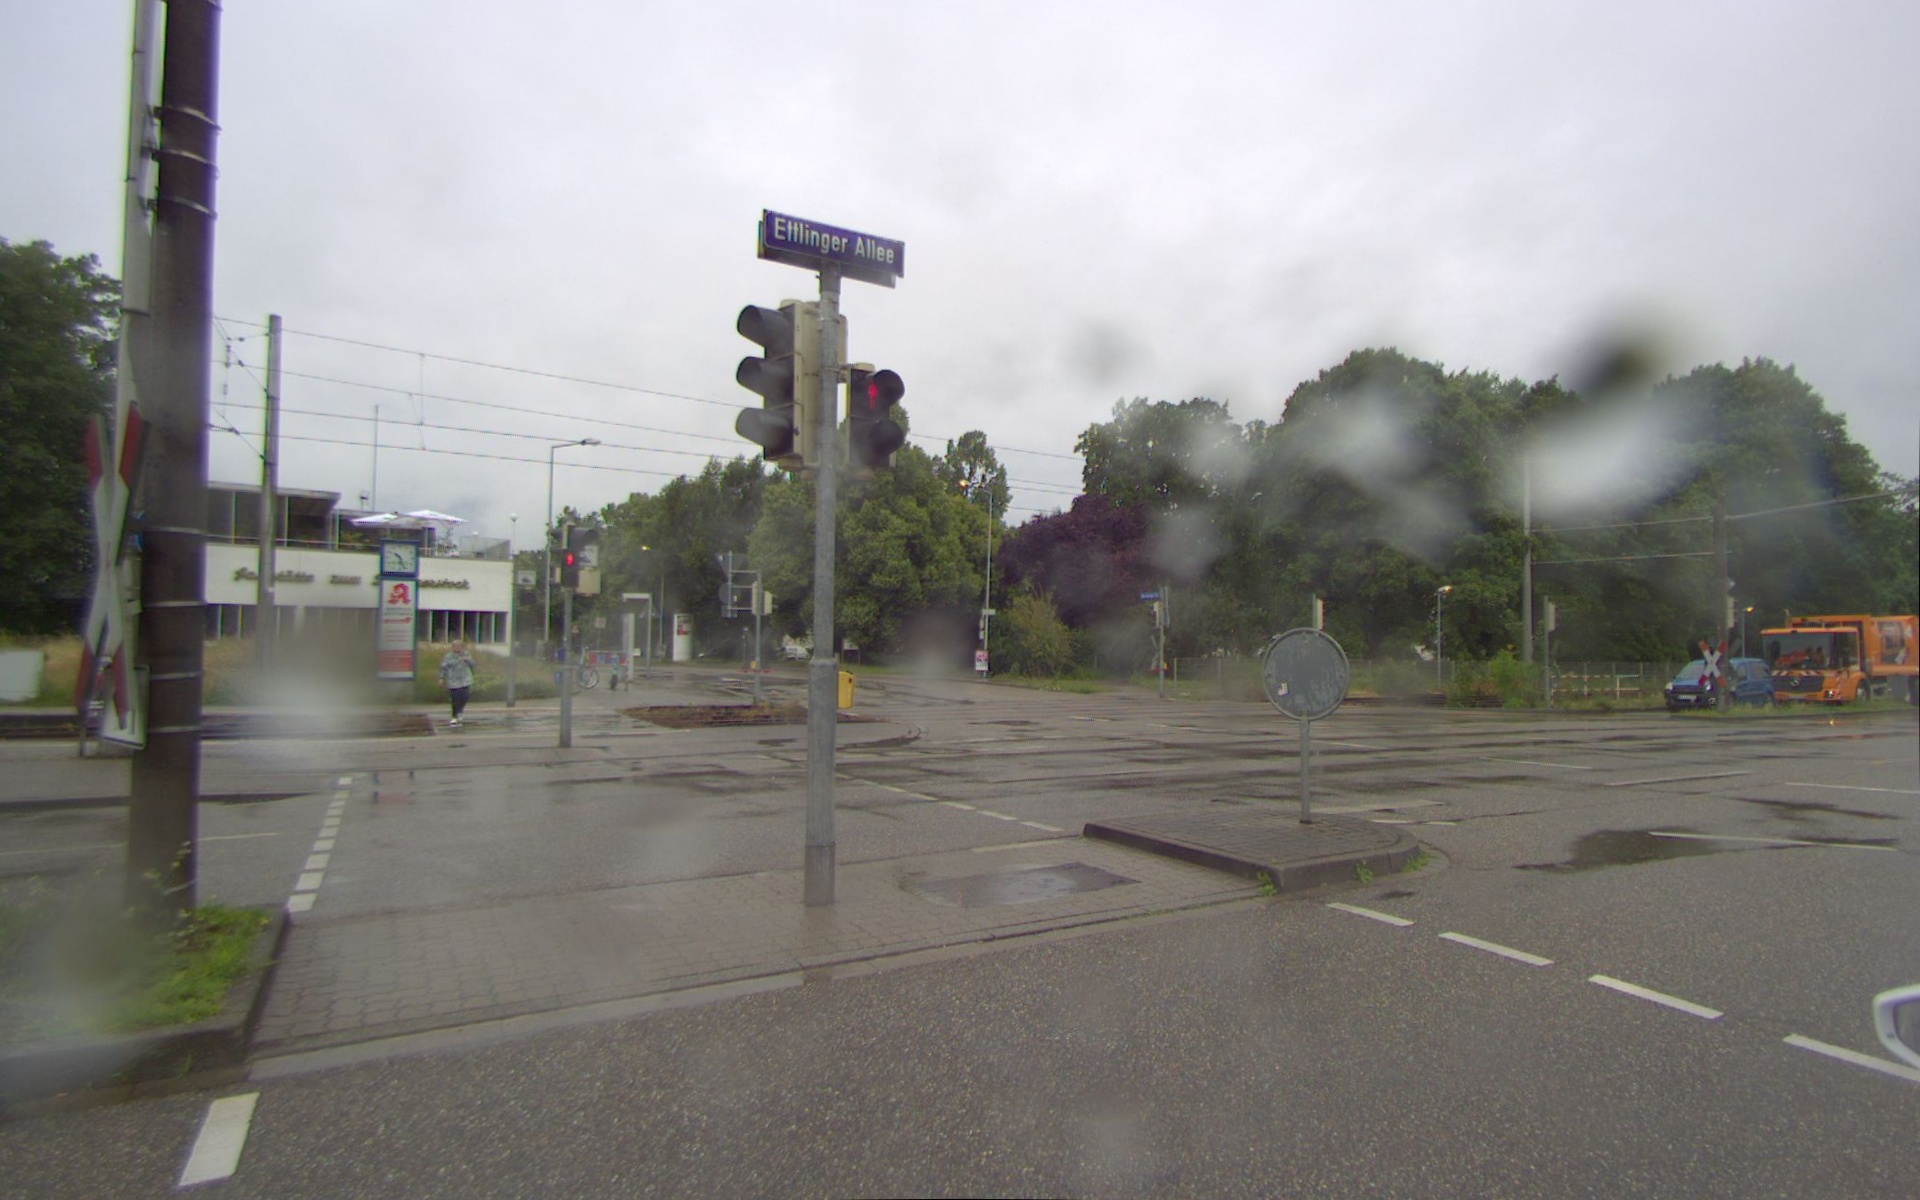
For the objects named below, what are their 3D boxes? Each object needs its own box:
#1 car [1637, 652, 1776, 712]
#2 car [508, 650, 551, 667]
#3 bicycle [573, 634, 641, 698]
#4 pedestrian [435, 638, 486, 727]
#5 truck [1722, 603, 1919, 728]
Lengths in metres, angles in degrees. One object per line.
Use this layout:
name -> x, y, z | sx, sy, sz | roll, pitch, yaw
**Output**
car -> 24.382, 2.663, 32.797 | 4.472, 1.732, 1.985 | 3, -1, -29
car -> -47.371, 6.425, 110.604 | 3.963, 1.726, 1.856 | 3, -1, -36
bicycle -> -10.155, 1.884, 28.912 | 1.713, 1.784, 0.637 | 2, -3, -29
pedestrian -> -9.895, 1.622, 19.887 | 0.774, 1.679, 0.797 | 3, -1, -32
truck -> 33.290, 2.464, 38.041 | 10.285, 4.222, 3.369 | 3, -1, -30
